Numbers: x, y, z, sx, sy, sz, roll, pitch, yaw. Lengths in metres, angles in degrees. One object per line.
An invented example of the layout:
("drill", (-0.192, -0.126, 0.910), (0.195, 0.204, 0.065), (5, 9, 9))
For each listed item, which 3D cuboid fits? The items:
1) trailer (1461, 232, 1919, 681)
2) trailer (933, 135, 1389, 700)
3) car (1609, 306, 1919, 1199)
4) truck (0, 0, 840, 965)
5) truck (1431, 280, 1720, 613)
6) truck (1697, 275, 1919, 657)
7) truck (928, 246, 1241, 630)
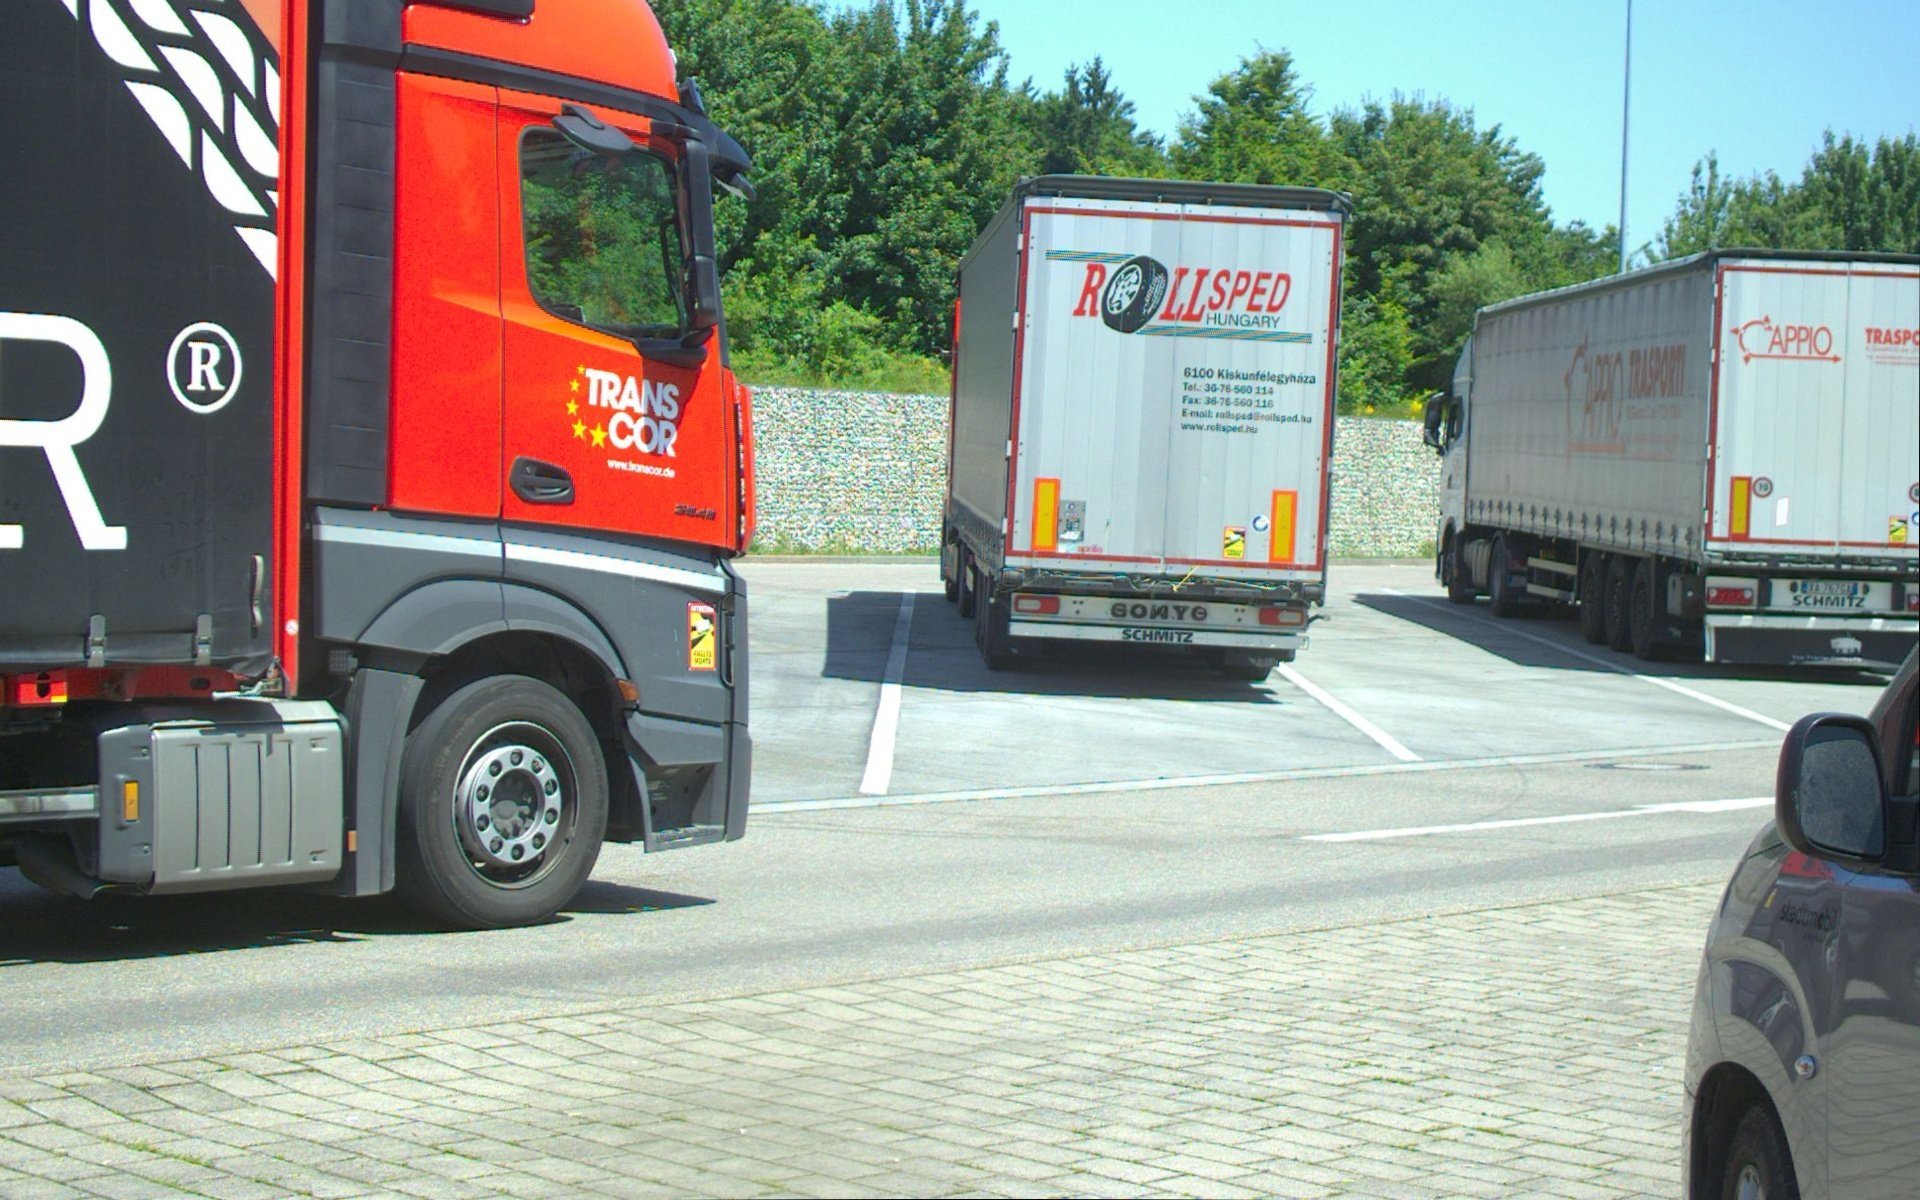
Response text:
("trailer", (8.146, -1.545, 38.483), (2.876, 4.110, 13.572), (1, 2, -1))
("trailer", (1.484, -1.703, 32.646), (3.069, 4.213, 12.810), (2, 3, -2))
("car", (2.142, 0.534, 3.802), (1.825, 1.747, 4.001), (1, 2, -4))
("truck", (-5.049, -0.962, 10.043), (2.692, 4.113, 10.579), (2, 2, 43))
("truck", (8.032, -1.997, 45.478), (2.757, 4.110, 5.285), (1, 2, -1))
("truck", (11.736, -1.483, 39.815), (2.904, 4.110, 14.528), (3, 2, -1))
("truck", (1.269, -1.861, 39.414), (3.026, 3.915, 6.847), (2, 3, -2))
